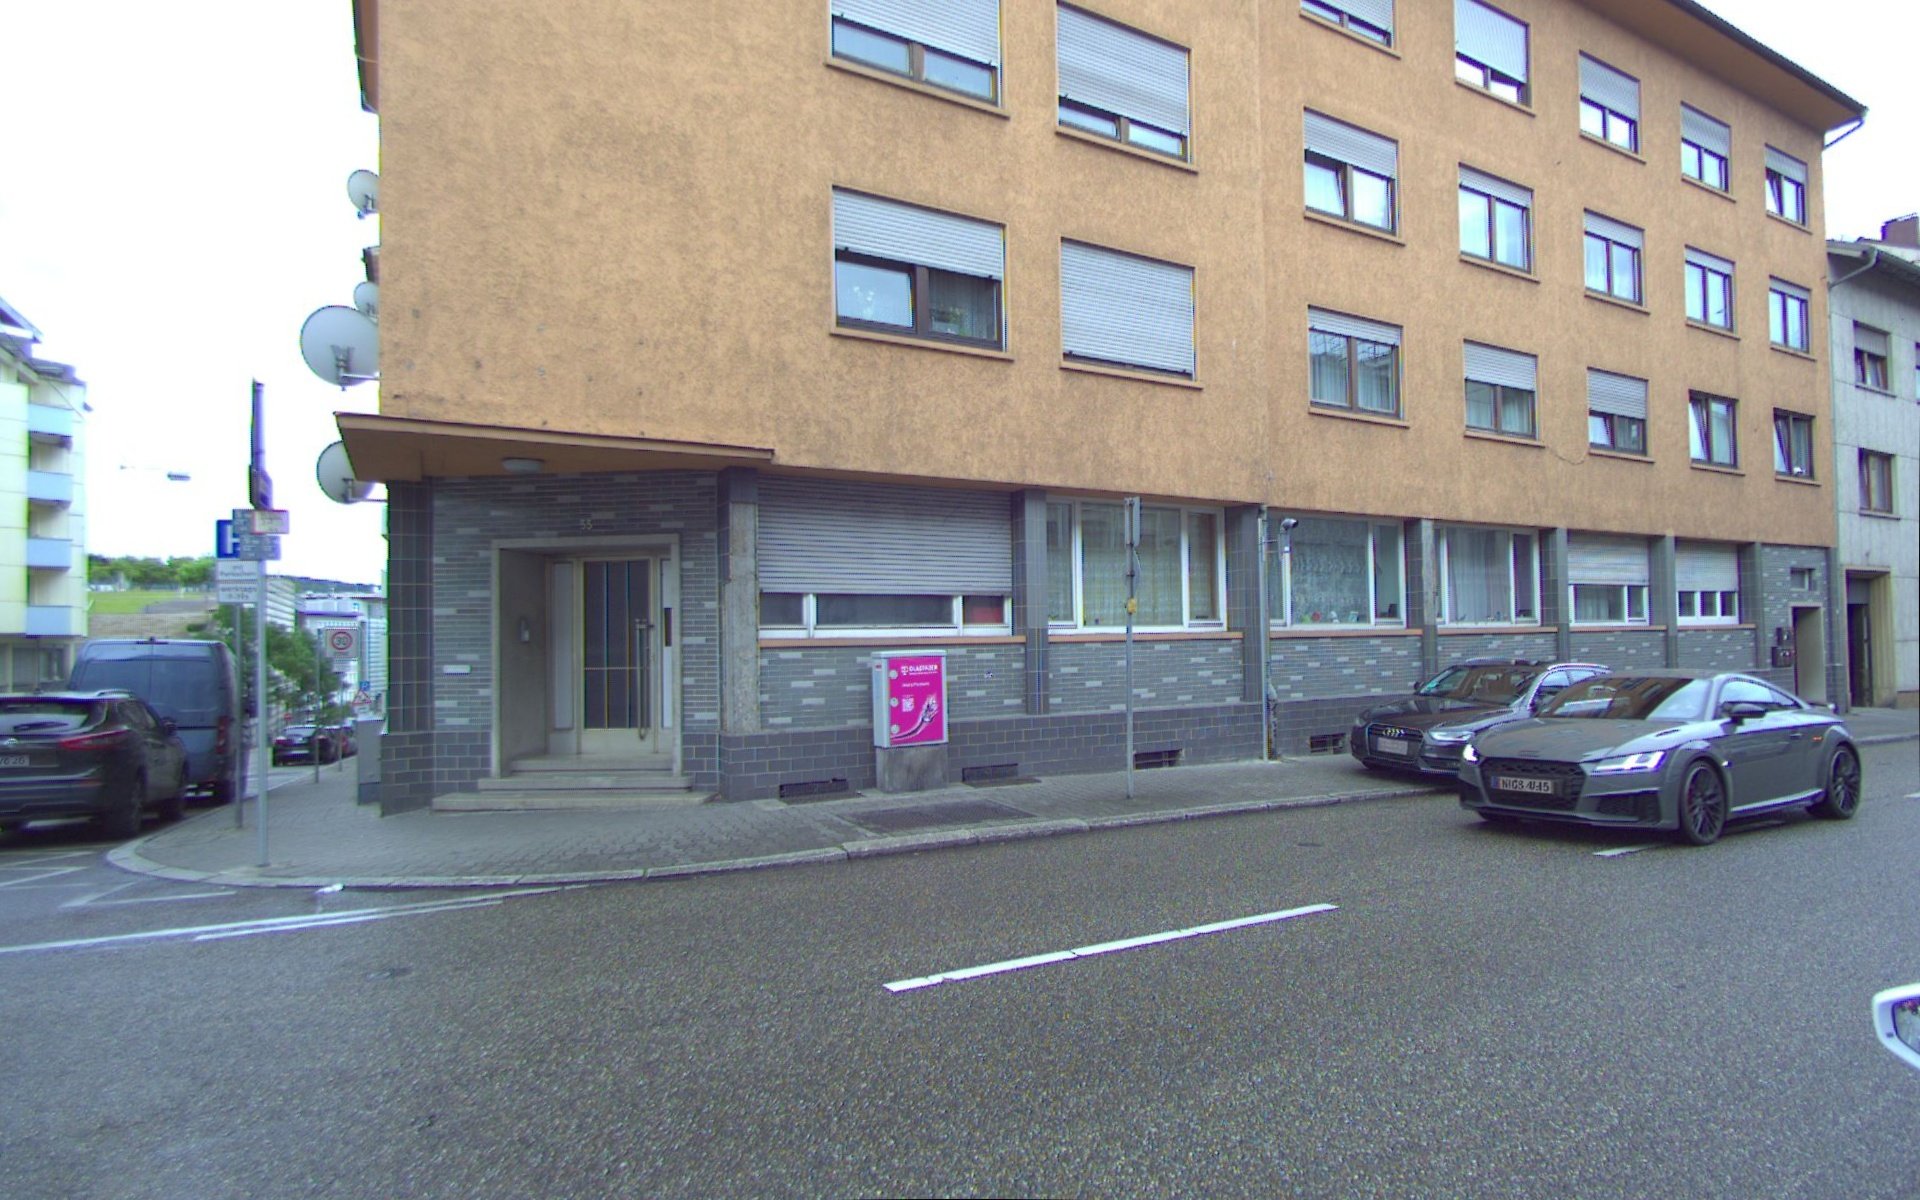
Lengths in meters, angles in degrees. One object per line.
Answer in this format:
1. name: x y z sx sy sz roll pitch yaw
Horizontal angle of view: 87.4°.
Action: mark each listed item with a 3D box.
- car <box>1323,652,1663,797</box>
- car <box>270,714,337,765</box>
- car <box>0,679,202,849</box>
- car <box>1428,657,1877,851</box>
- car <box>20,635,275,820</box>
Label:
1. car: 6.893 1.453 12.863 4.475 1.457 1.786 1 0 -31
2. car: -24.455 5.202 37.531 1.796 1.696 4.026 1 -7 -29
3. car: -10.139 1.829 11.427 1.820 1.596 4.127 1 -8 -29
4. car: 6.230 1.243 8.987 3.842 1.363 1.760 1 -6 -30
5. car: -13.149 2.074 16.777 2.223 2.492 6.017 1 -7 -29
